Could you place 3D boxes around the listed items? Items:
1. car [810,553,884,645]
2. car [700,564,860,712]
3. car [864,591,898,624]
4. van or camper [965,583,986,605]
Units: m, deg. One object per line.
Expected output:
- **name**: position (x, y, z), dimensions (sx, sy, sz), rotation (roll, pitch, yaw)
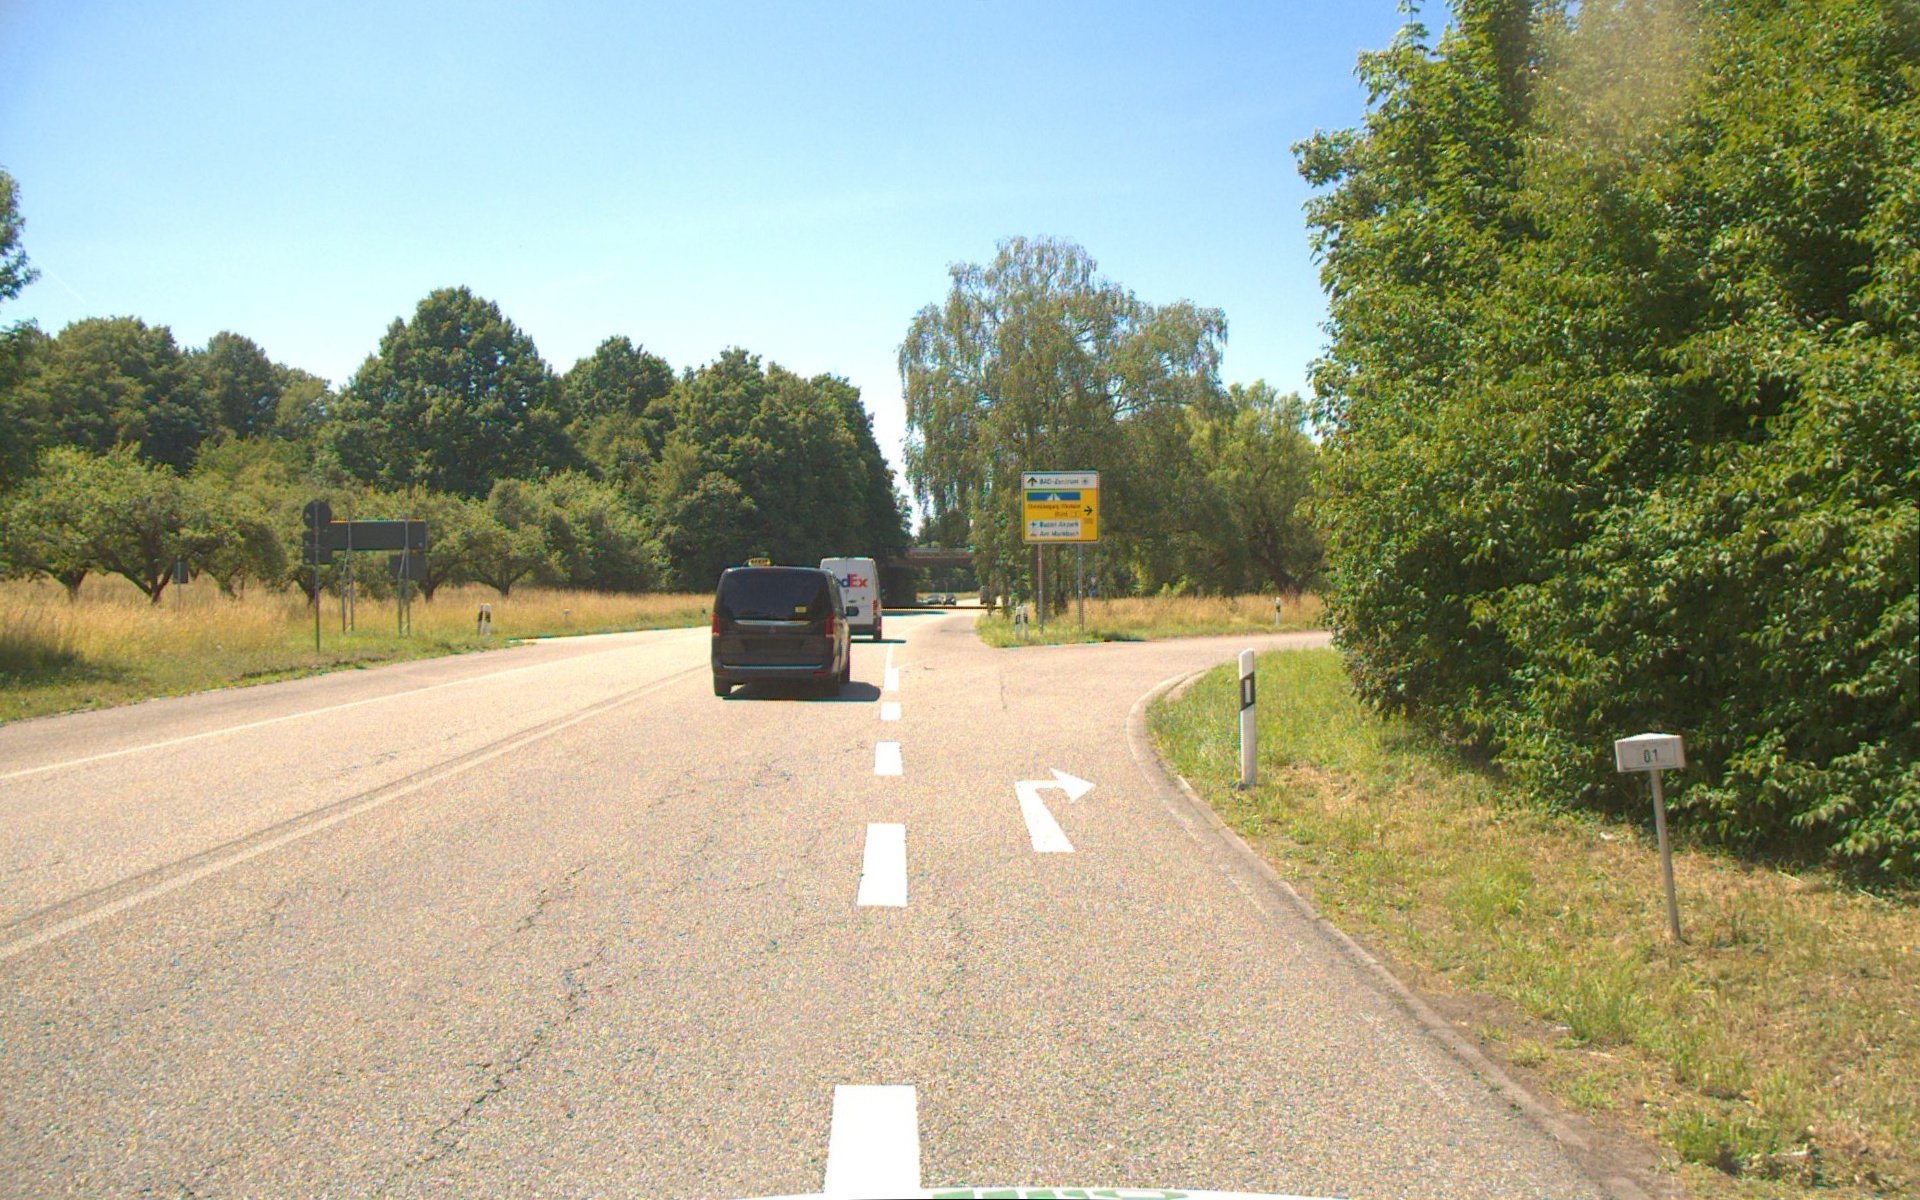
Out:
- **car**: position (-3.541, -0.042, 52.679), dimensions (2.036, 2.750, 4.665), rotation (2, 0, -1)
- **car**: position (-2.636, 0.525, 25.384), dimensions (1.953, 1.987, 5.003), rotation (2, 0, -1)
- **car**: position (-5.166, 0.483, 108.742), dimensions (1.953, 2.049, 4.000), rotation (3, 0, 0)
- **van or camper**: position (2.169, -0.880, 232.514), dimensions (2.579, 2.980, 5.203), rotation (2, 0, -3)
